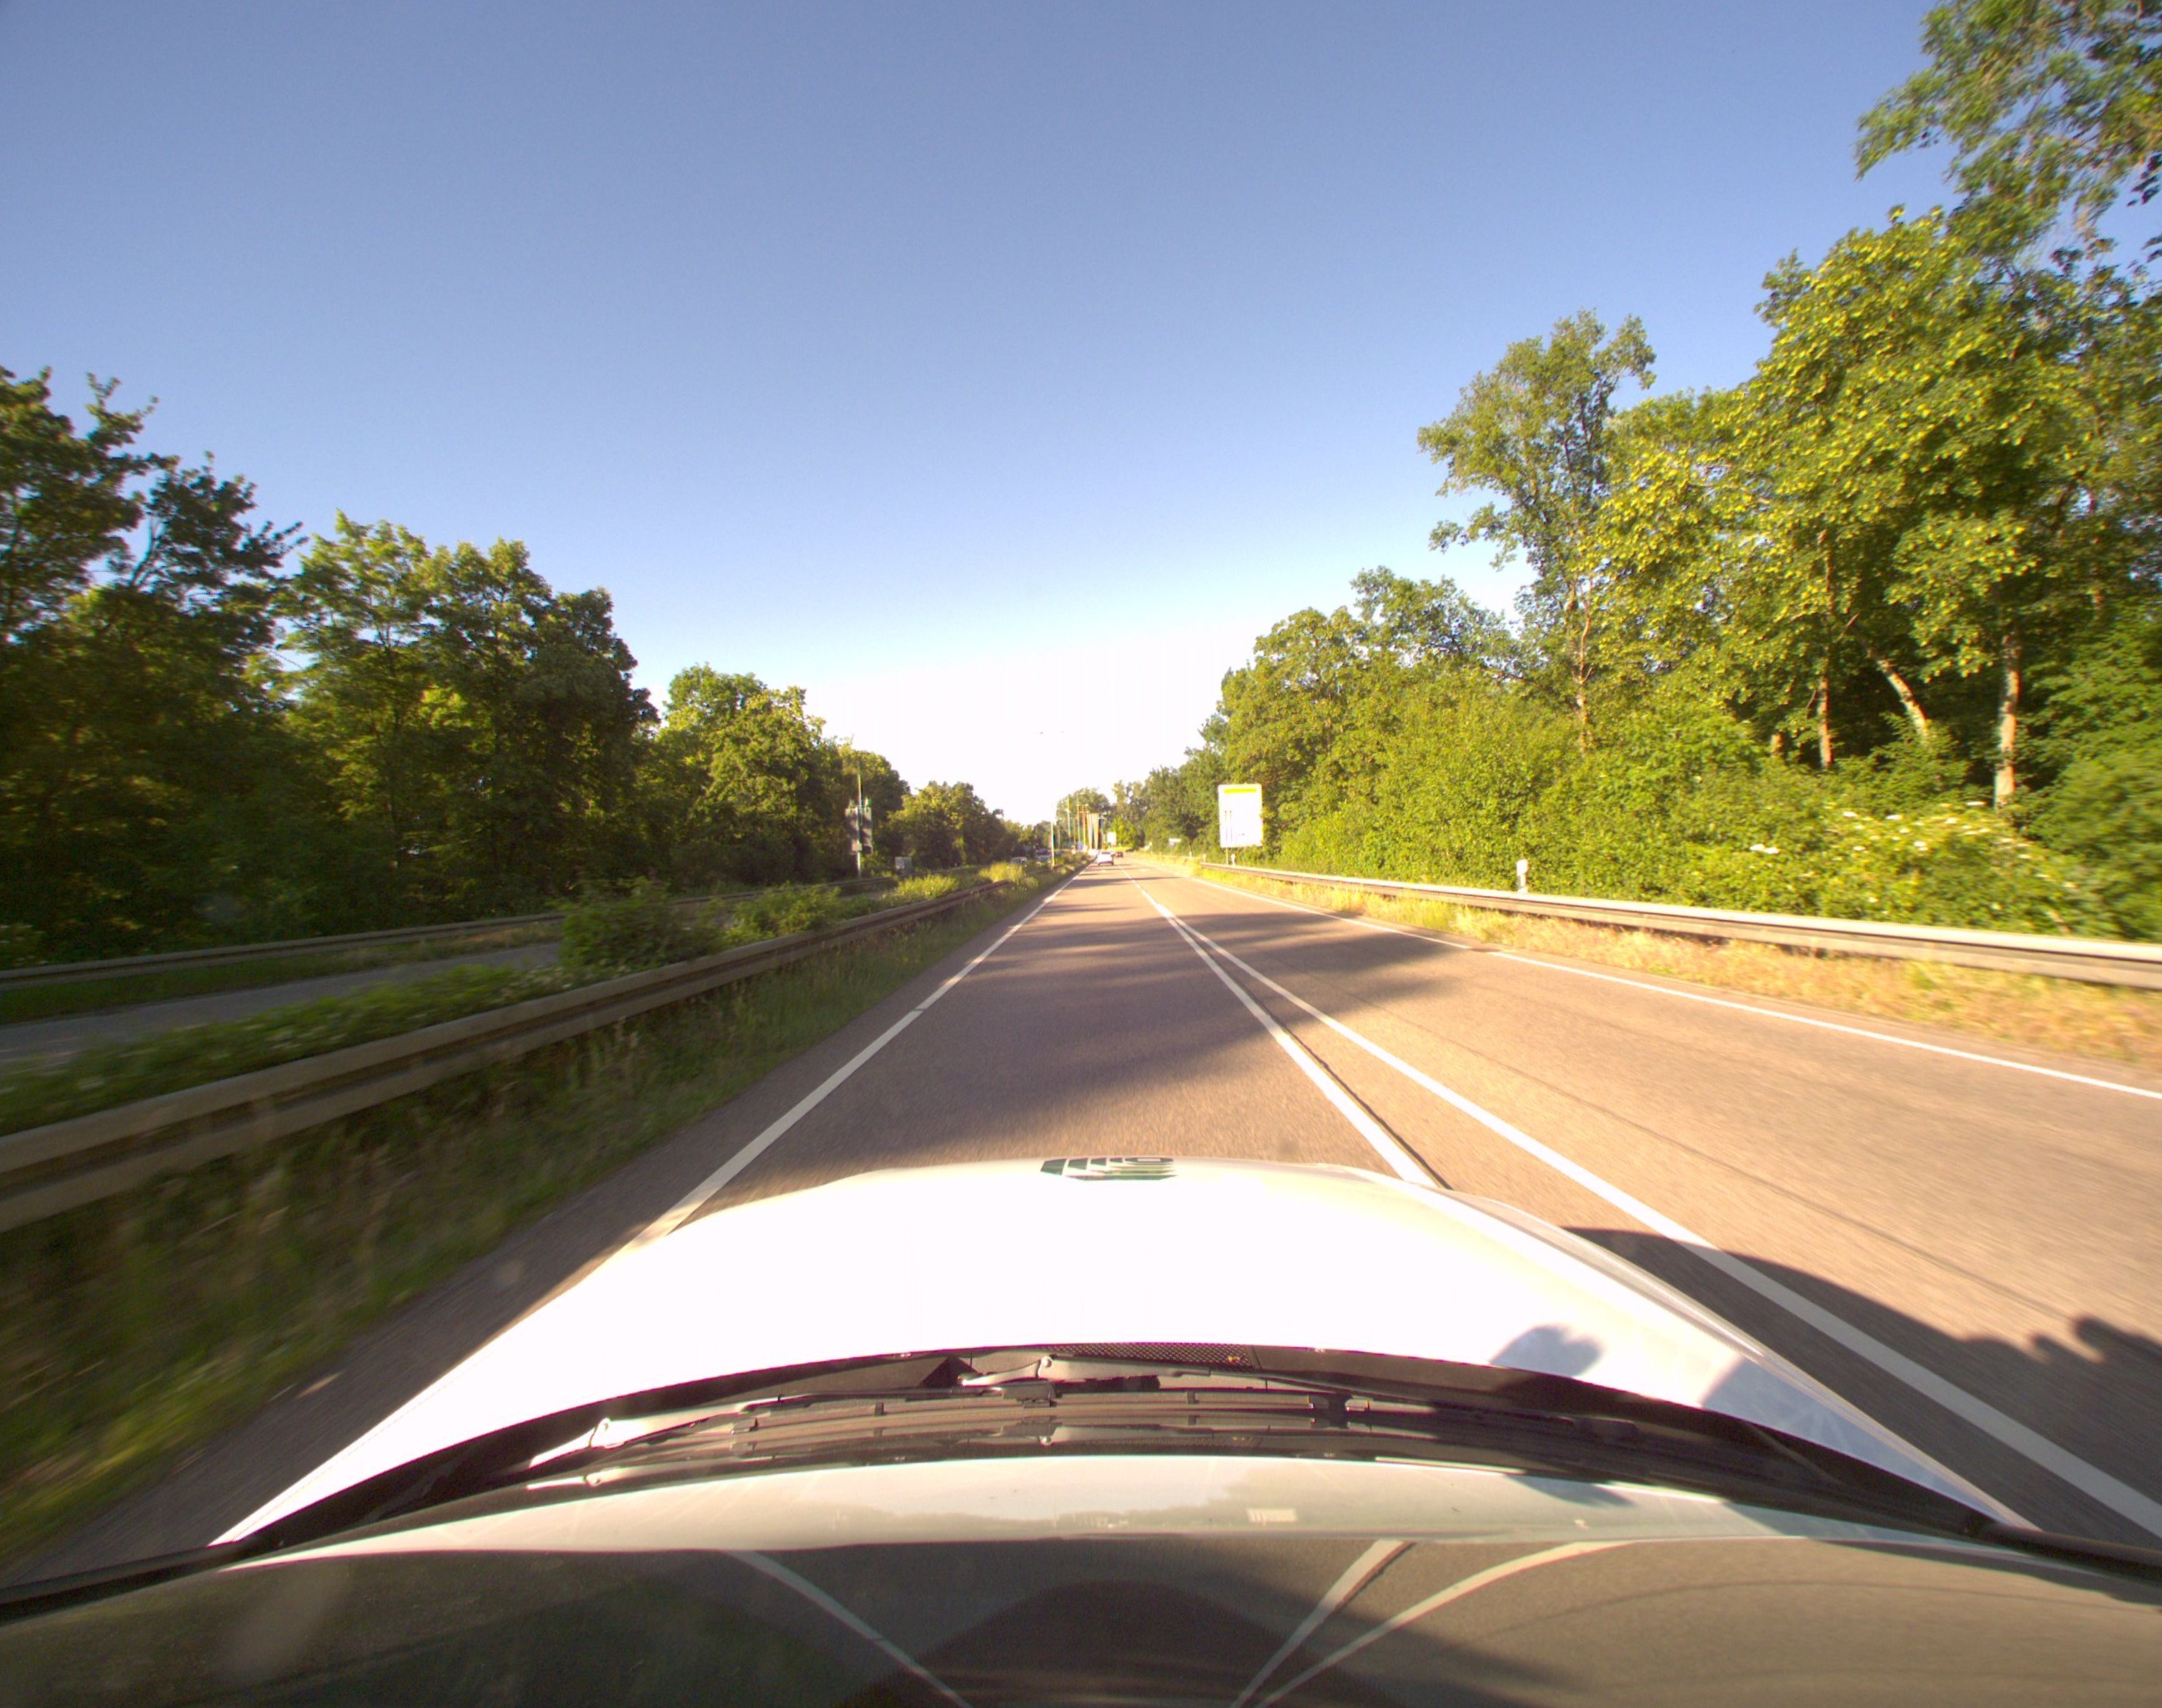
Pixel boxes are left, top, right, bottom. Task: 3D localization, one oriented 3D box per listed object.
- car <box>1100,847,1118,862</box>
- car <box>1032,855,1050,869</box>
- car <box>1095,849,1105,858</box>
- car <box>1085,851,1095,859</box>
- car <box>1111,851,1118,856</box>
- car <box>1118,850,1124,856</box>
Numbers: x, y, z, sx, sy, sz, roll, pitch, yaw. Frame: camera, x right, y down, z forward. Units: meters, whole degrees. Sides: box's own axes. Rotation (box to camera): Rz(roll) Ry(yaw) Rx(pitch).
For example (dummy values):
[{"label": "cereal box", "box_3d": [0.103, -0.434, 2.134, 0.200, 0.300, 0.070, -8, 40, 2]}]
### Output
[{"label": "car", "box_3d": [3.374, 0.009, 97.865, 1.987, 1.640, 4.128, -3, 1, 0]}, {"label": "car", "box_3d": [-4.862, 0.943, 99.559, 1.611, 1.530, 4.613, -3, 0, 3]}, {"label": "car", "box_3d": [4.440, -0.181, 190.236, 1.988, 1.879, 4.246, -3, 1, -2]}, {"label": "car", "box_3d": [2.305, 0.320, 209.899, 1.994, 2.014, 3.986, 0, -1, -10]}, {"label": "car", "box_3d": [8.265, -0.052, 202.017, 1.618, 1.280, 2.988, 0, -1, 1]}, {"label": "car", "box_3d": [9.030, -0.248, 183.094, 1.383, 1.280, 2.988, 0, -1, 1]}]
